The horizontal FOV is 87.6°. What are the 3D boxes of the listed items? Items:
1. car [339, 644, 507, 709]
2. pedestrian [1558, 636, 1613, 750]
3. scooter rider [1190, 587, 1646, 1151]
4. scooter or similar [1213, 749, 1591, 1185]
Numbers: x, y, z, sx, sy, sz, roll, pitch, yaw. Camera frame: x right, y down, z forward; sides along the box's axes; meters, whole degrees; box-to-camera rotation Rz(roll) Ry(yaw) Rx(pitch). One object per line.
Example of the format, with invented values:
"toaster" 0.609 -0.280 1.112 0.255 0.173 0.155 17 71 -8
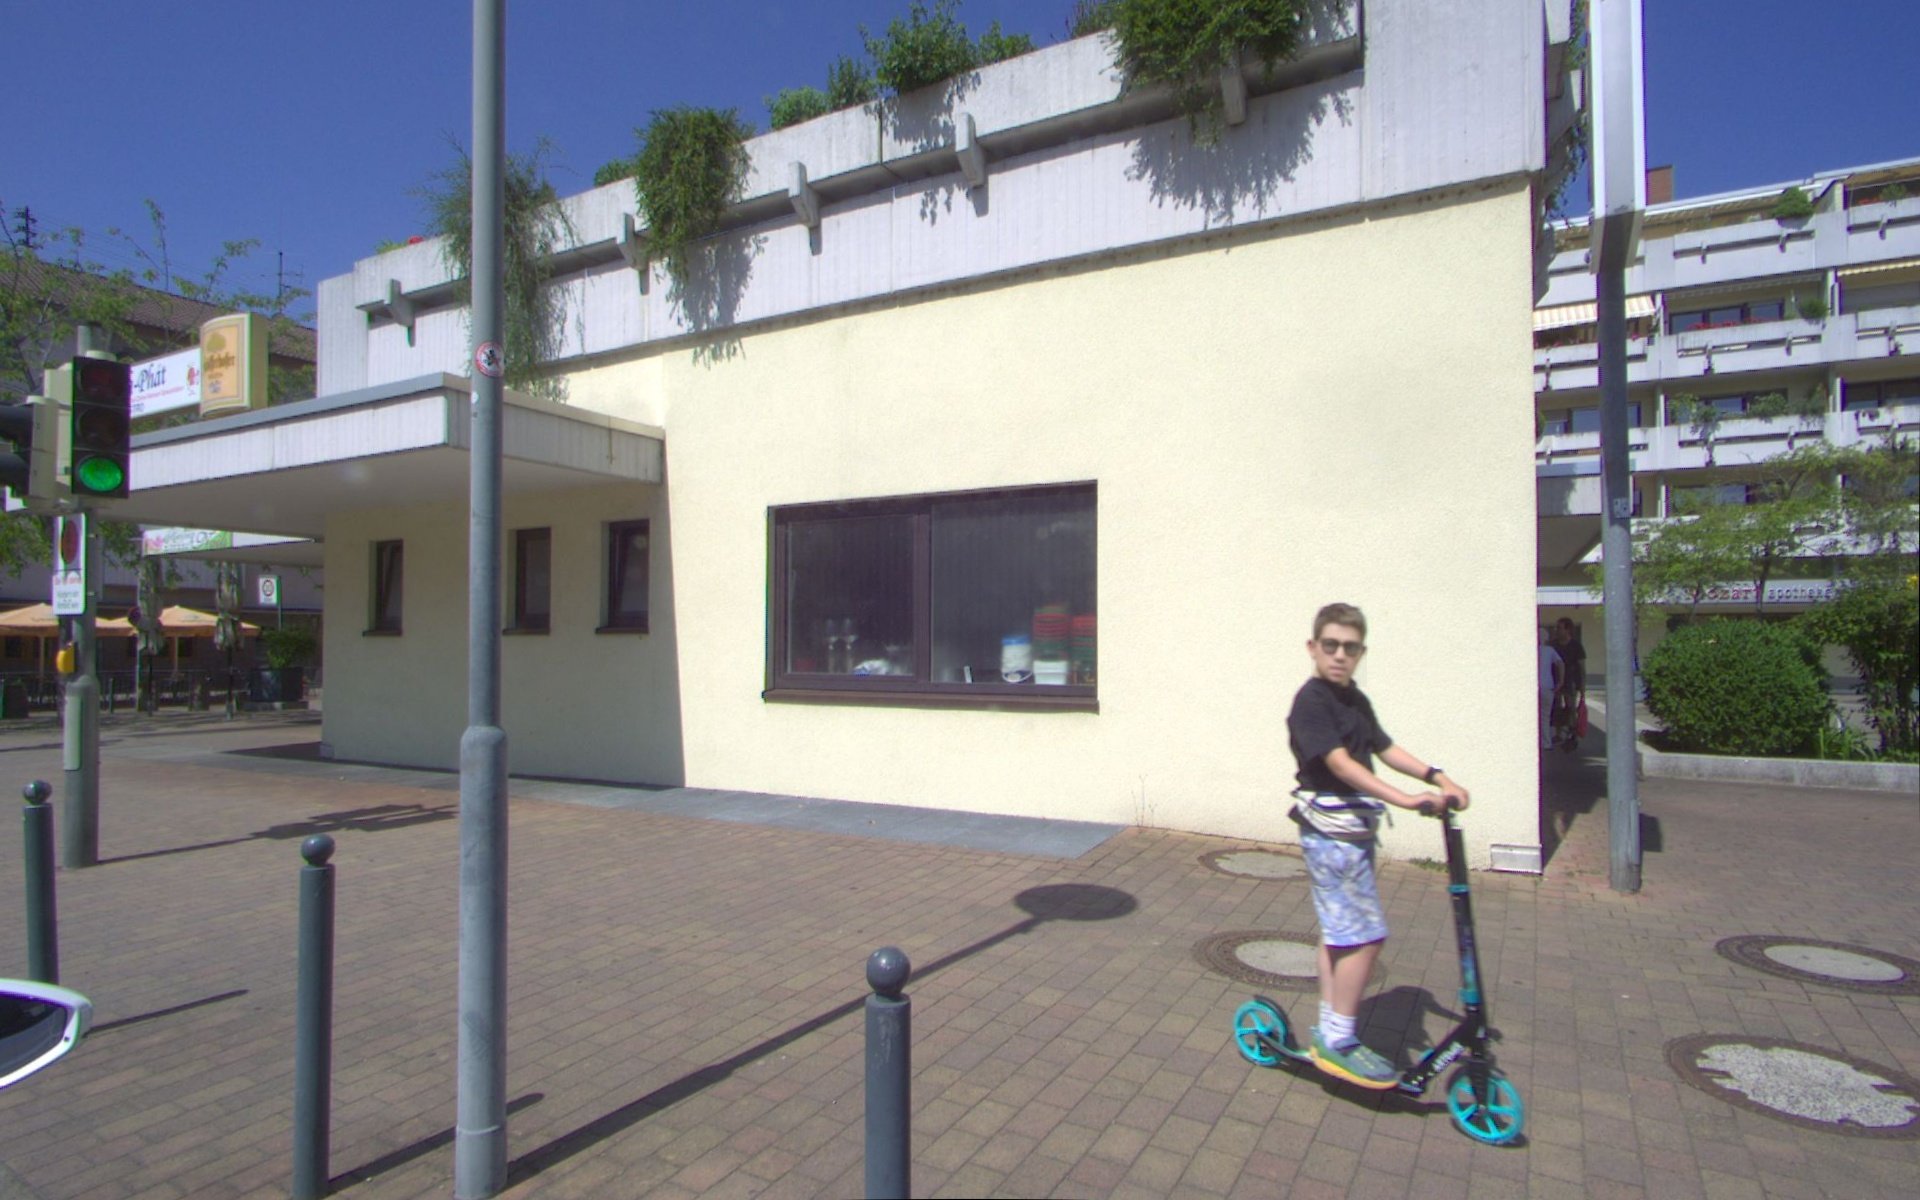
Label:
"car" -13.430 1.887 25.042 3.909 1.528 1.767 -2 -3 26
"pedestrian" 8.460 1.231 13.547 0.596 1.482 0.791 -1 -2 32
"scooter rider" 1.285 0.659 2.894 1.117 1.341 0.460 -1 -1 33
"scooter or similar" 1.268 0.973 2.917 0.947 0.977 0.410 -1 -2 34
